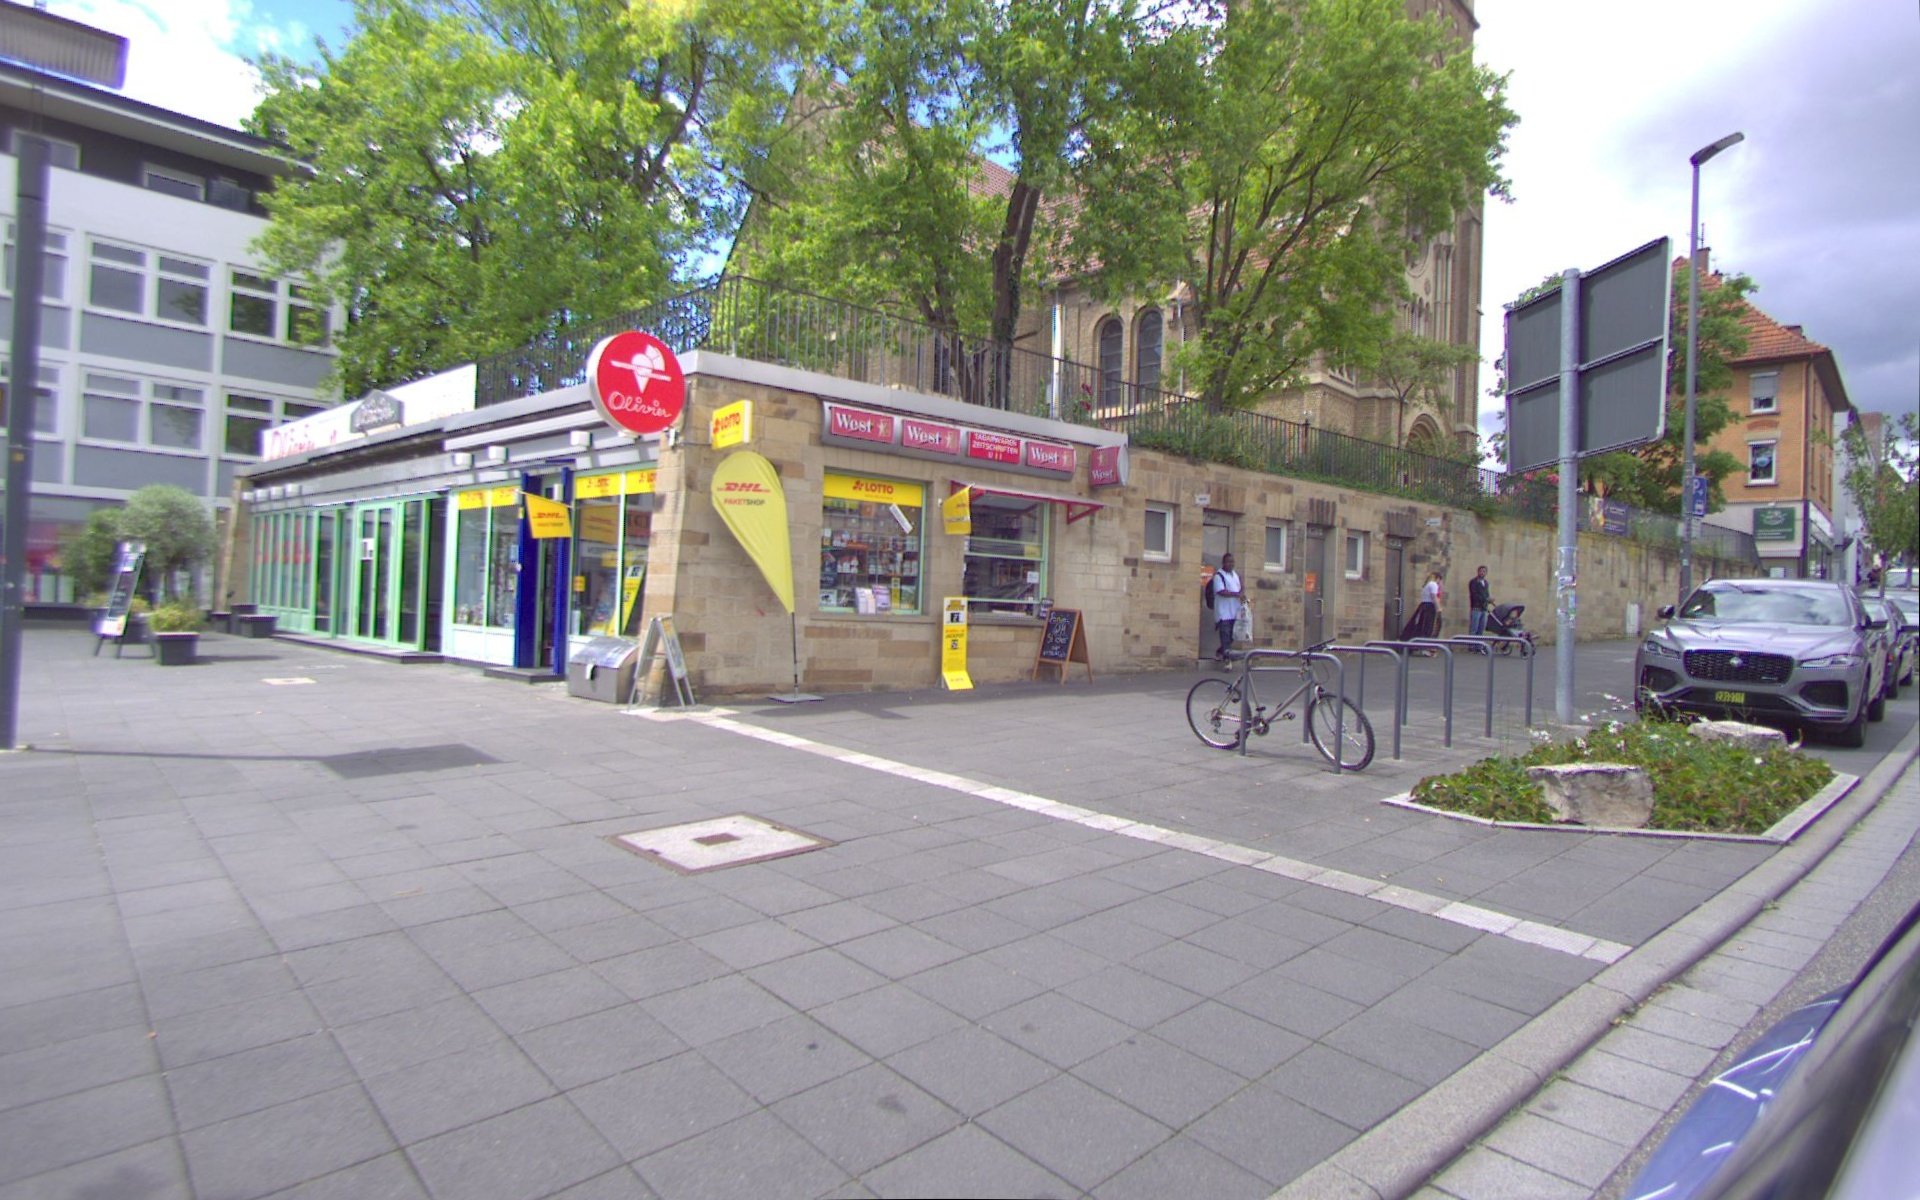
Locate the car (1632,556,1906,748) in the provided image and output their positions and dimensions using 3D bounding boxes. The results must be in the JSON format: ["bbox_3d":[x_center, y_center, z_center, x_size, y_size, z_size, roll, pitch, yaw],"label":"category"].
[{"bbox_3d":[9.362,0.427,11.560,1.930,1.745,4.500,3,2,45],"label":"car"}]

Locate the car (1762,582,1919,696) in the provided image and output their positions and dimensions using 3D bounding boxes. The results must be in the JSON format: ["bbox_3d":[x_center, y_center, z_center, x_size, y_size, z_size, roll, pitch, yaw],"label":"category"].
[{"bbox_3d":[14.118,0.502,15.933,4.298,1.434,1.683,-3,3,-42],"label":"car"}]

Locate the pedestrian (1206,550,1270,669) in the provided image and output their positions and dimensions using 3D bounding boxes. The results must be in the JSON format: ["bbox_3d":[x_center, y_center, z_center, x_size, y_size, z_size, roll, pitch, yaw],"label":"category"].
[{"bbox_3d":[4.273,0.132,15.537,0.756,1.752,0.591,3,2,30],"label":"pedestrian"}]

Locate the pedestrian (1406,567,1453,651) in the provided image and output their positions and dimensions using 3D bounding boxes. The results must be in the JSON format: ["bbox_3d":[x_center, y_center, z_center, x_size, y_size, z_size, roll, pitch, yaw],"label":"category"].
[{"bbox_3d":[8.763,0.160,18.912,0.573,1.542,0.590,1,1,3],"label":"pedestrian"}]

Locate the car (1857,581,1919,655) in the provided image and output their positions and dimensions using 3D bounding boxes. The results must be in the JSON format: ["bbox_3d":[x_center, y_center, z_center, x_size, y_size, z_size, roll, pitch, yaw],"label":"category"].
[{"bbox_3d":[21.566,0.364,22.883,1.755,1.458,4.026,2,3,44],"label":"car"}]

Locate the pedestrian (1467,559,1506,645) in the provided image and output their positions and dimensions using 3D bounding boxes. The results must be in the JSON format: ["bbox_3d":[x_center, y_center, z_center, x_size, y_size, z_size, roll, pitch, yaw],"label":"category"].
[{"bbox_3d":[10.361,0.032,19.906,0.497,1.666,0.475,-1,2,-32],"label":"pedestrian"}]

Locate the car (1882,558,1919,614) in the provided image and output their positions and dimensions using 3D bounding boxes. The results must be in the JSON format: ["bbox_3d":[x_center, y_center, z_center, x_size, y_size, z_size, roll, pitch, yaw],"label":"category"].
[{"bbox_3d":[33.877,-0.524,35.284,4.942,1.870,1.889,-2,3,-40],"label":"car"}]

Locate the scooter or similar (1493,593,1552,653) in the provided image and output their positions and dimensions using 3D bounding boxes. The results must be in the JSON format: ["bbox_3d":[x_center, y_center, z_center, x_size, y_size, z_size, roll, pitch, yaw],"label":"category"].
[{"bbox_3d":[10.754,0.417,19.361,0.549,1.085,0.815,-1,2,-32],"label":"scooter or similar"}]

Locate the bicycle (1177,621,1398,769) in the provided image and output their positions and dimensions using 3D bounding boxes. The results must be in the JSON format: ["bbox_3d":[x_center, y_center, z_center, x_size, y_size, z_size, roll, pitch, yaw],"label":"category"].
[{"bbox_3d":[2.641,0.731,8.326,1.726,1.008,0.340,3,2,43],"label":"bicycle"}]

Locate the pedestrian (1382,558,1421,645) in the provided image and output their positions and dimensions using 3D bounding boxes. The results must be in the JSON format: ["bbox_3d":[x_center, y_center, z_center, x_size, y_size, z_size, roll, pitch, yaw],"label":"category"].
[{"bbox_3d":[8.547,0.016,19.591,0.497,1.666,0.475,-1,2,-32],"label":"pedestrian"}]
